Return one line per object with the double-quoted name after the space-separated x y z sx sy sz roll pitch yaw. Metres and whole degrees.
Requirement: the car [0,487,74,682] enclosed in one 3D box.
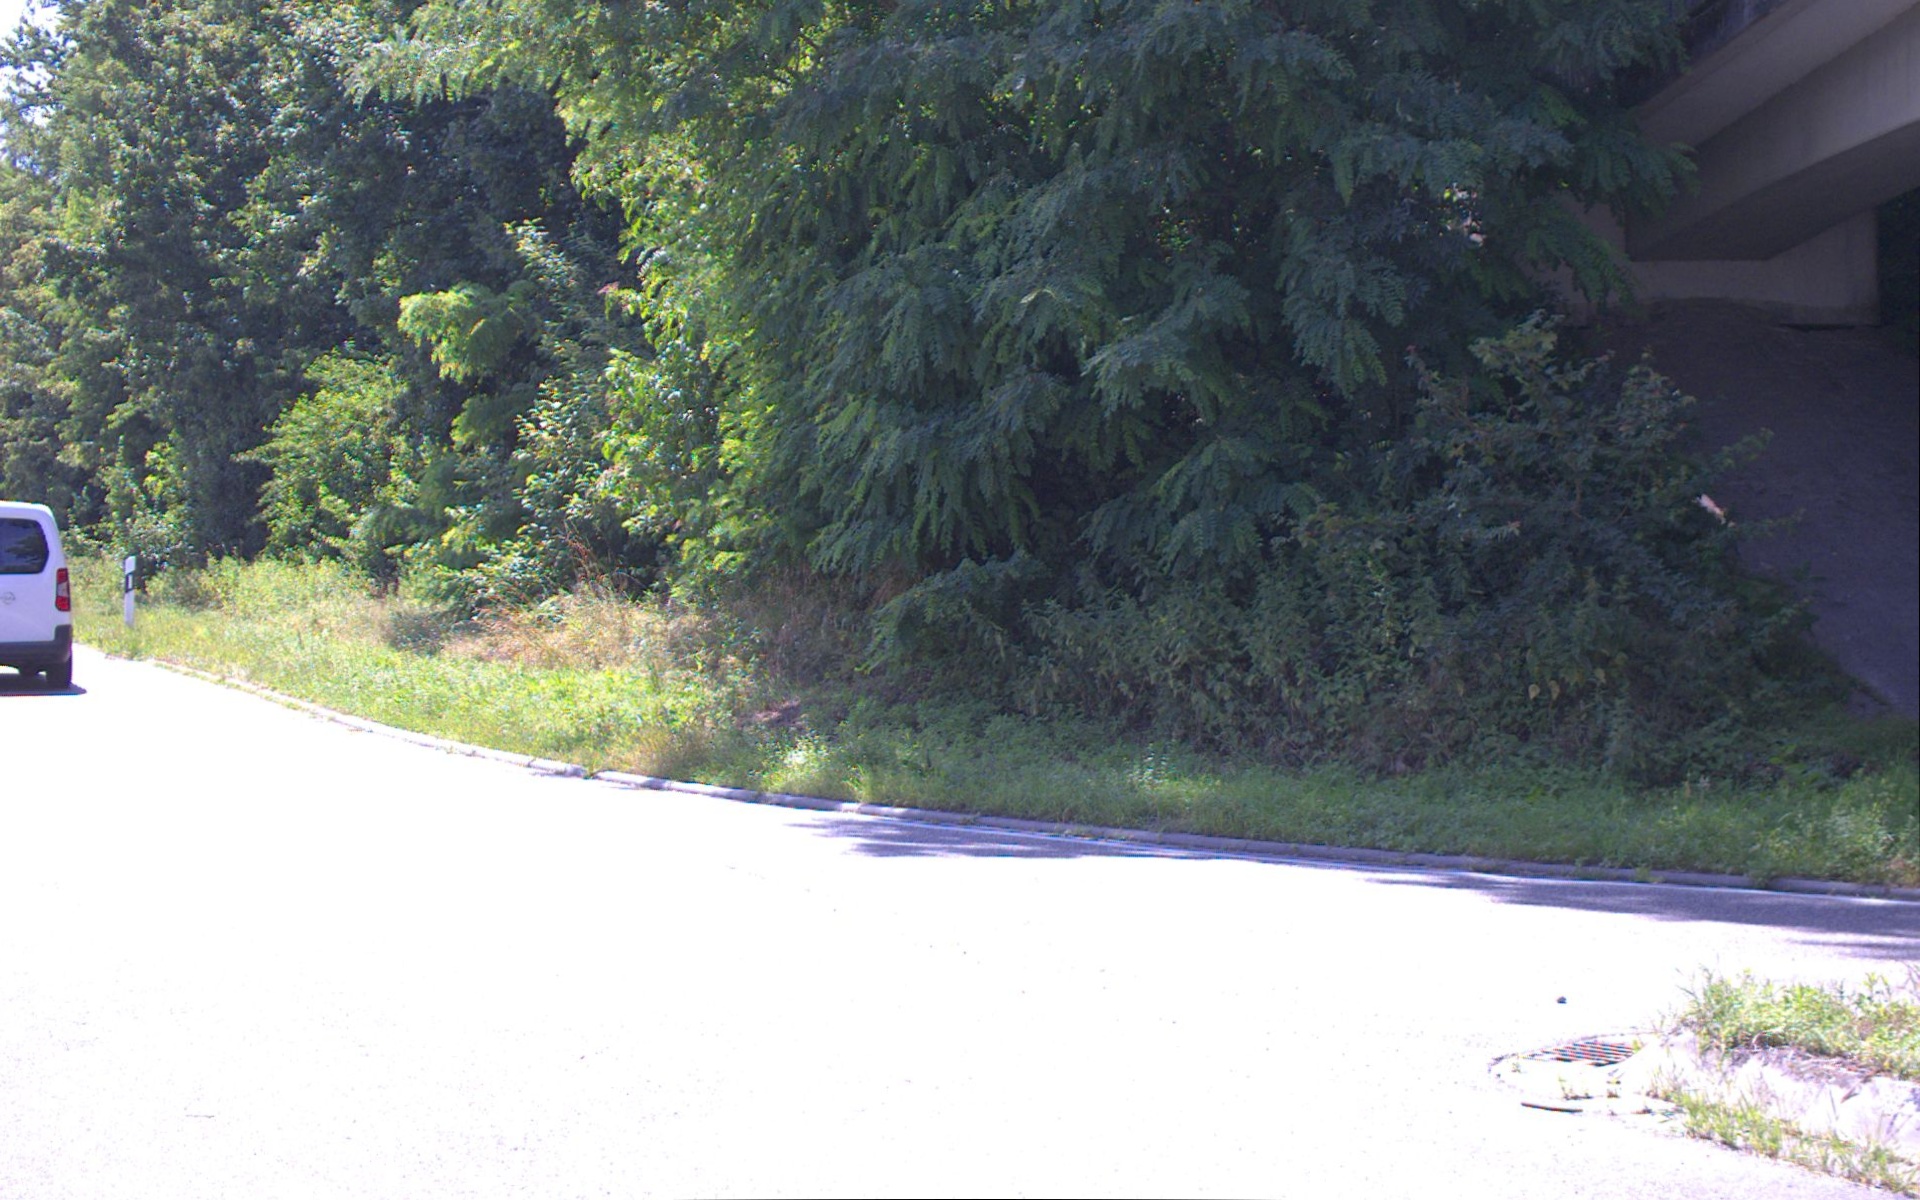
-9.810 -0.165 33.888 1.848 1.819 3.982 -1 1 -18 "car"
